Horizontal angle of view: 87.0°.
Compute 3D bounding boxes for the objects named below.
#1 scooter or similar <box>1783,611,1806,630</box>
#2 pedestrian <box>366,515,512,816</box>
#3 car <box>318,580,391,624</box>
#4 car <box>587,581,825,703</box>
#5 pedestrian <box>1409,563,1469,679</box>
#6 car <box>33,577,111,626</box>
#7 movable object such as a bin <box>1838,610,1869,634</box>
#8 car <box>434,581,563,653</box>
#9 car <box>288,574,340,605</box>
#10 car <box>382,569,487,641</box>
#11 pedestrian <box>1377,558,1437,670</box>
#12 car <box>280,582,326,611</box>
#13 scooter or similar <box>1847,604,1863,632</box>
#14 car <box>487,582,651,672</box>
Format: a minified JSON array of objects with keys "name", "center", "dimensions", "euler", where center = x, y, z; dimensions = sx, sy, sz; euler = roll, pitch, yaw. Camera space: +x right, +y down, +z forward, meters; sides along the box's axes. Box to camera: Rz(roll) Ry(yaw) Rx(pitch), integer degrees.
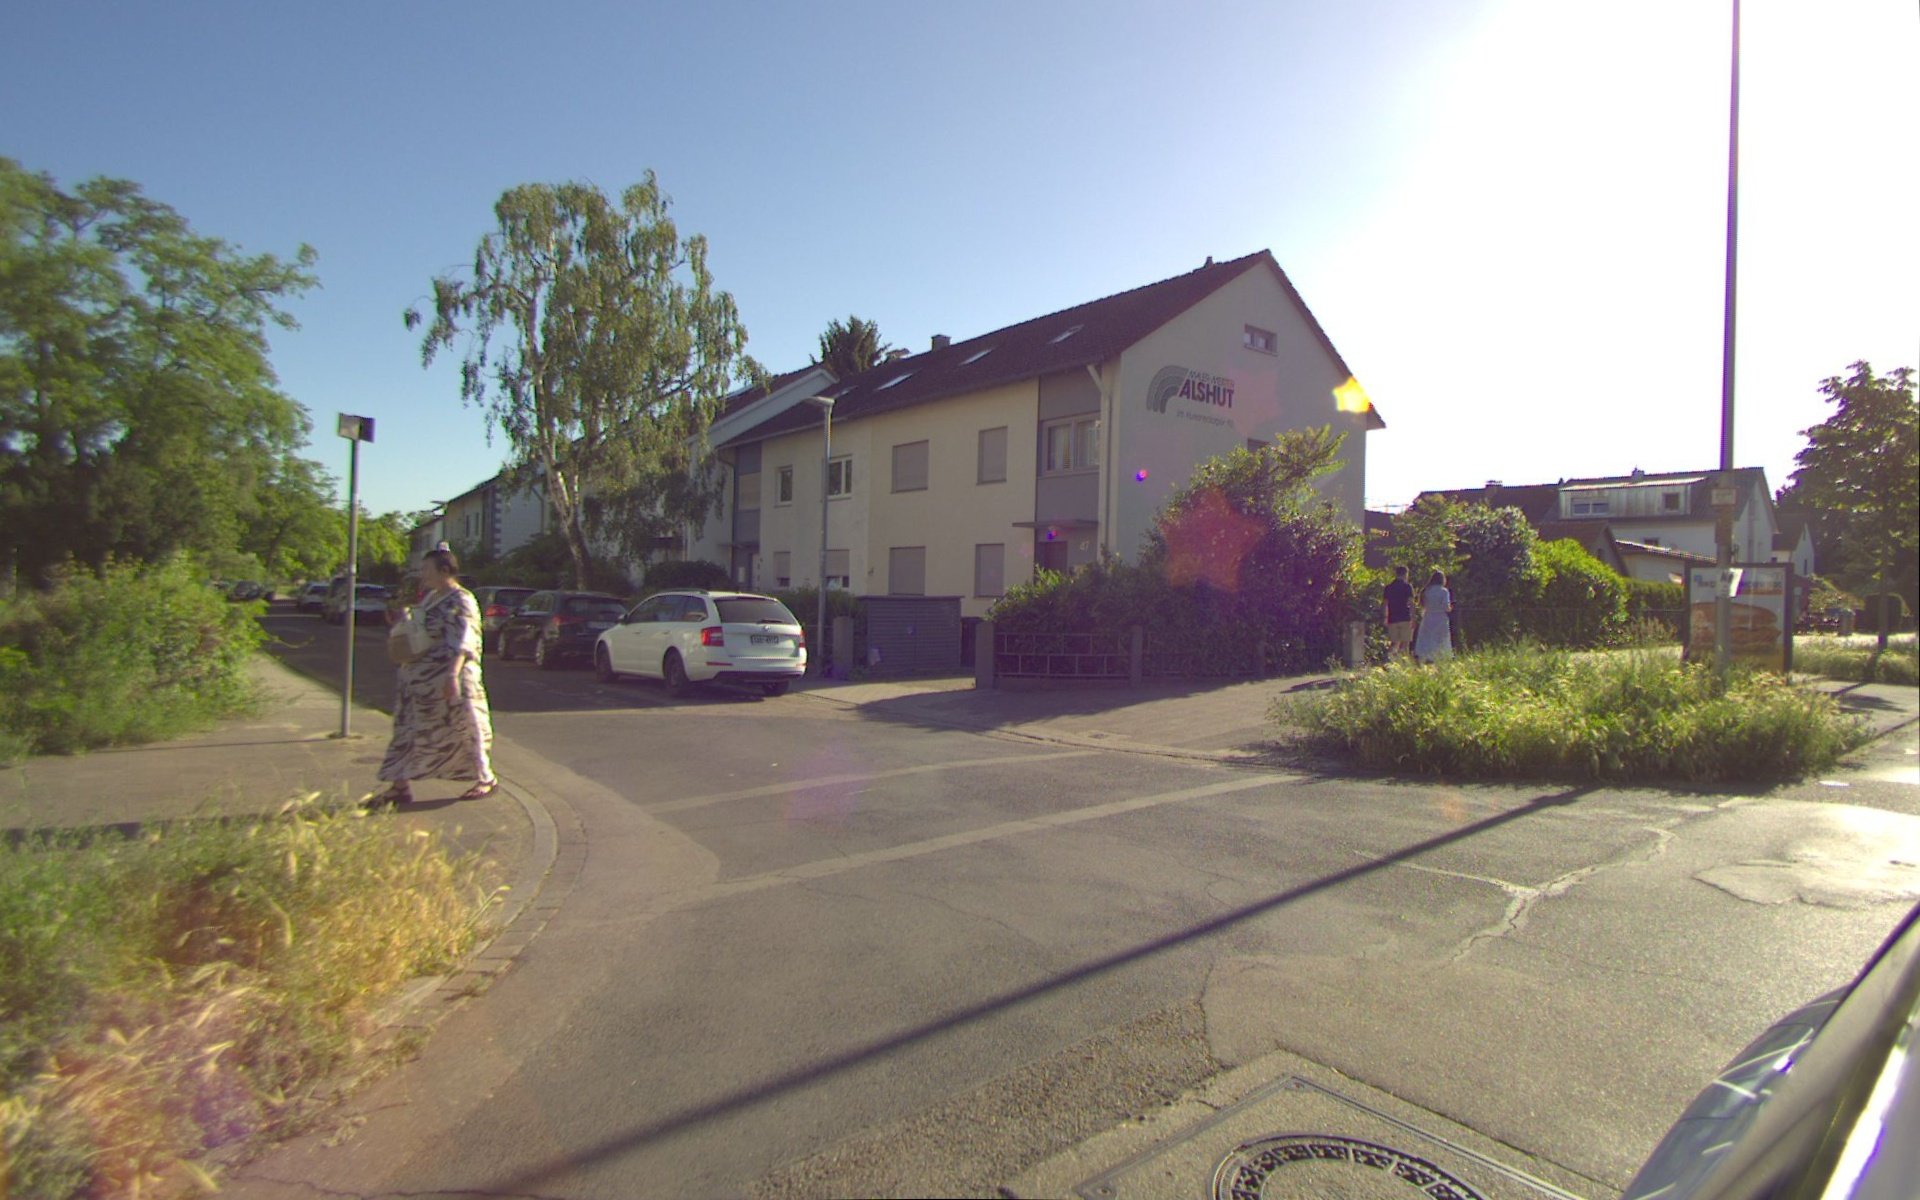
[{"name":"scooter or similar","center":[33.142,0.808,40.174],"dimensions":[1.207,0.725,0.450],"euler":[0,5,-41]},{"name":"pedestrian","center":[-3.511,0.402,6.802],"dimensions":[0.723,1.845,0.902],"euler":[1,-1,-37]},{"name":"car","center":[-22.757,0.055,37.963],"dimensions":[1.773,1.521,3.952],"euler":[2,-1,-39]},{"name":"car","center":[-3.878,0.523,14.958],"dimensions":[1.773,1.521,4.204],"euler":[2,-1,-39]},{"name":"pedestrian","center":[7.413,0.311,15.669],"dimensions":[0.647,1.754,0.557],"euler":[0,0,-23]},{"name":"car","center":[-29.631,0.055,33.743],"dimensions":[1.795,1.538,3.990],"euler":[0,0,-44]},{"name":"movable object such as a bin","center":[51.310,1.240,58.101],"dimensions":[0.912,1.310,1.171],"euler":[1,2,-40]},{"name":"car","center":[-10.896,0.359,23.760],"dimensions":[1.773,1.521,3.952],"euler":[2,-1,-39]},{"name":"car","center":[-33.546,-0.548,52.511],"dimensions":[1.773,1.521,3.952],"euler":[2,-1,-39]},{"name":"car","center":[-14.578,0.118,27.966],"dimensions":[1.773,1.816,3.952],"euler":[2,-1,-39]},{"name":"pedestrian","center":[7.171,0.220,16.238],"dimensions":[0.626,1.754,0.608],"euler":[0,-1,-24]},{"name":"car","center":[-37.278,-0.193,57.393],"dimensions":[1.773,1.521,3.952],"euler":[2,-1,-39]},{"name":"scooter or similar","center":[42.676,0.861,48.244],"dimensions":[0.454,1.311,0.502],"euler":[1,1,-43]},{"name":"car","center":[-7.548,0.451,19.336],"dimensions":[1.773,1.521,3.952],"euler":[2,-1,-39]}]
